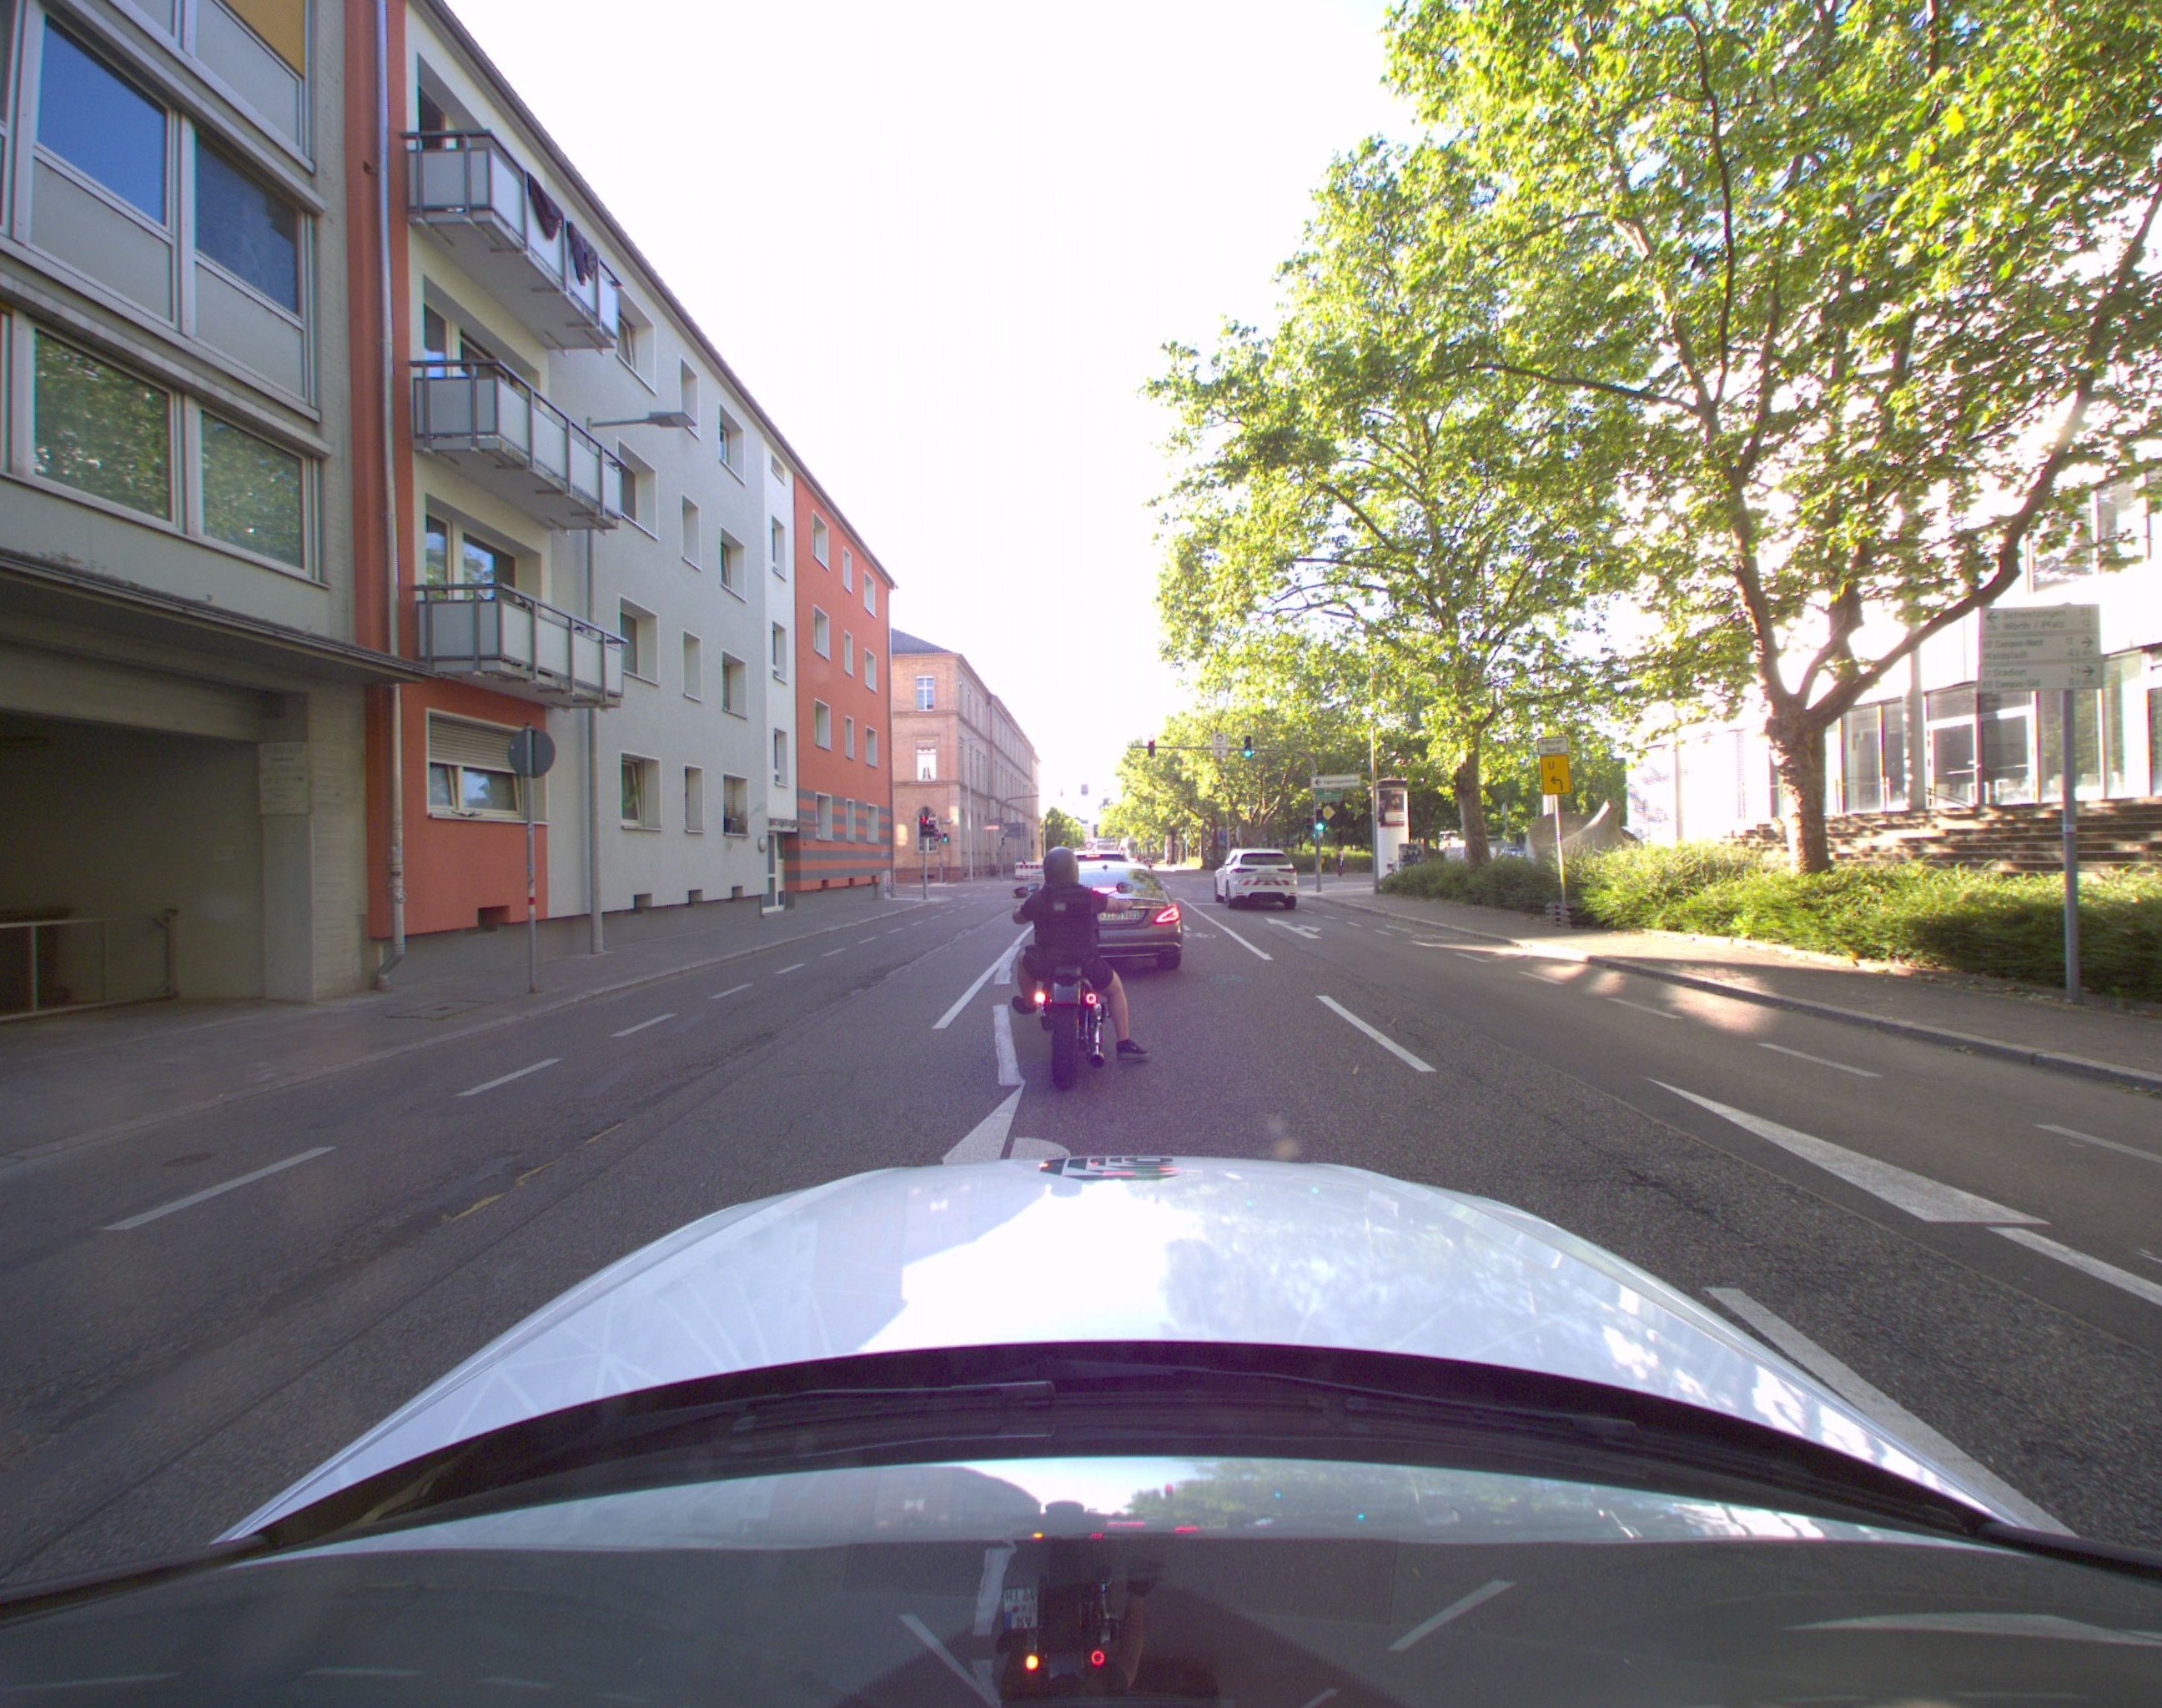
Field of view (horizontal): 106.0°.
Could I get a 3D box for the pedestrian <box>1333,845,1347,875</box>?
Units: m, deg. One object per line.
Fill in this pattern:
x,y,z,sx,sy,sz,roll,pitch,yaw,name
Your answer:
15.629,0.353,49.181,0.671,1.772,0.621,-1,-1,31,pedestrian

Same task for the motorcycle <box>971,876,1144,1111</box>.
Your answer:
-0.097,0.842,5.923,0.977,1.275,2.408,-1,0,2,motorcycle

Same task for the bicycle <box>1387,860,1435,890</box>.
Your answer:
11.076,0.712,27.340,1.475,0.980,0.300,0,-1,7,bicycle

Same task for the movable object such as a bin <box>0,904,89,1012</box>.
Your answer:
-11.291,1.089,8.663,0.639,1.065,0.675,-1,0,1,movable object such as a bin

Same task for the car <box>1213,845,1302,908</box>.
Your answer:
5.096,0.596,24.125,1.935,1.708,4.487,0,0,3,car

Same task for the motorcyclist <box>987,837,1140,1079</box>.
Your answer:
-0.098,0.687,6.001,0.977,1.578,1.249,-1,0,1,motorcyclist

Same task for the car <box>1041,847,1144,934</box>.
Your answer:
0.287,0.724,17.688,1.986,1.665,4.001,0,-1,2,car

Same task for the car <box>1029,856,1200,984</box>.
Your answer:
0.261,0.772,11.761,1.867,1.444,4.421,-1,0,-6,car
